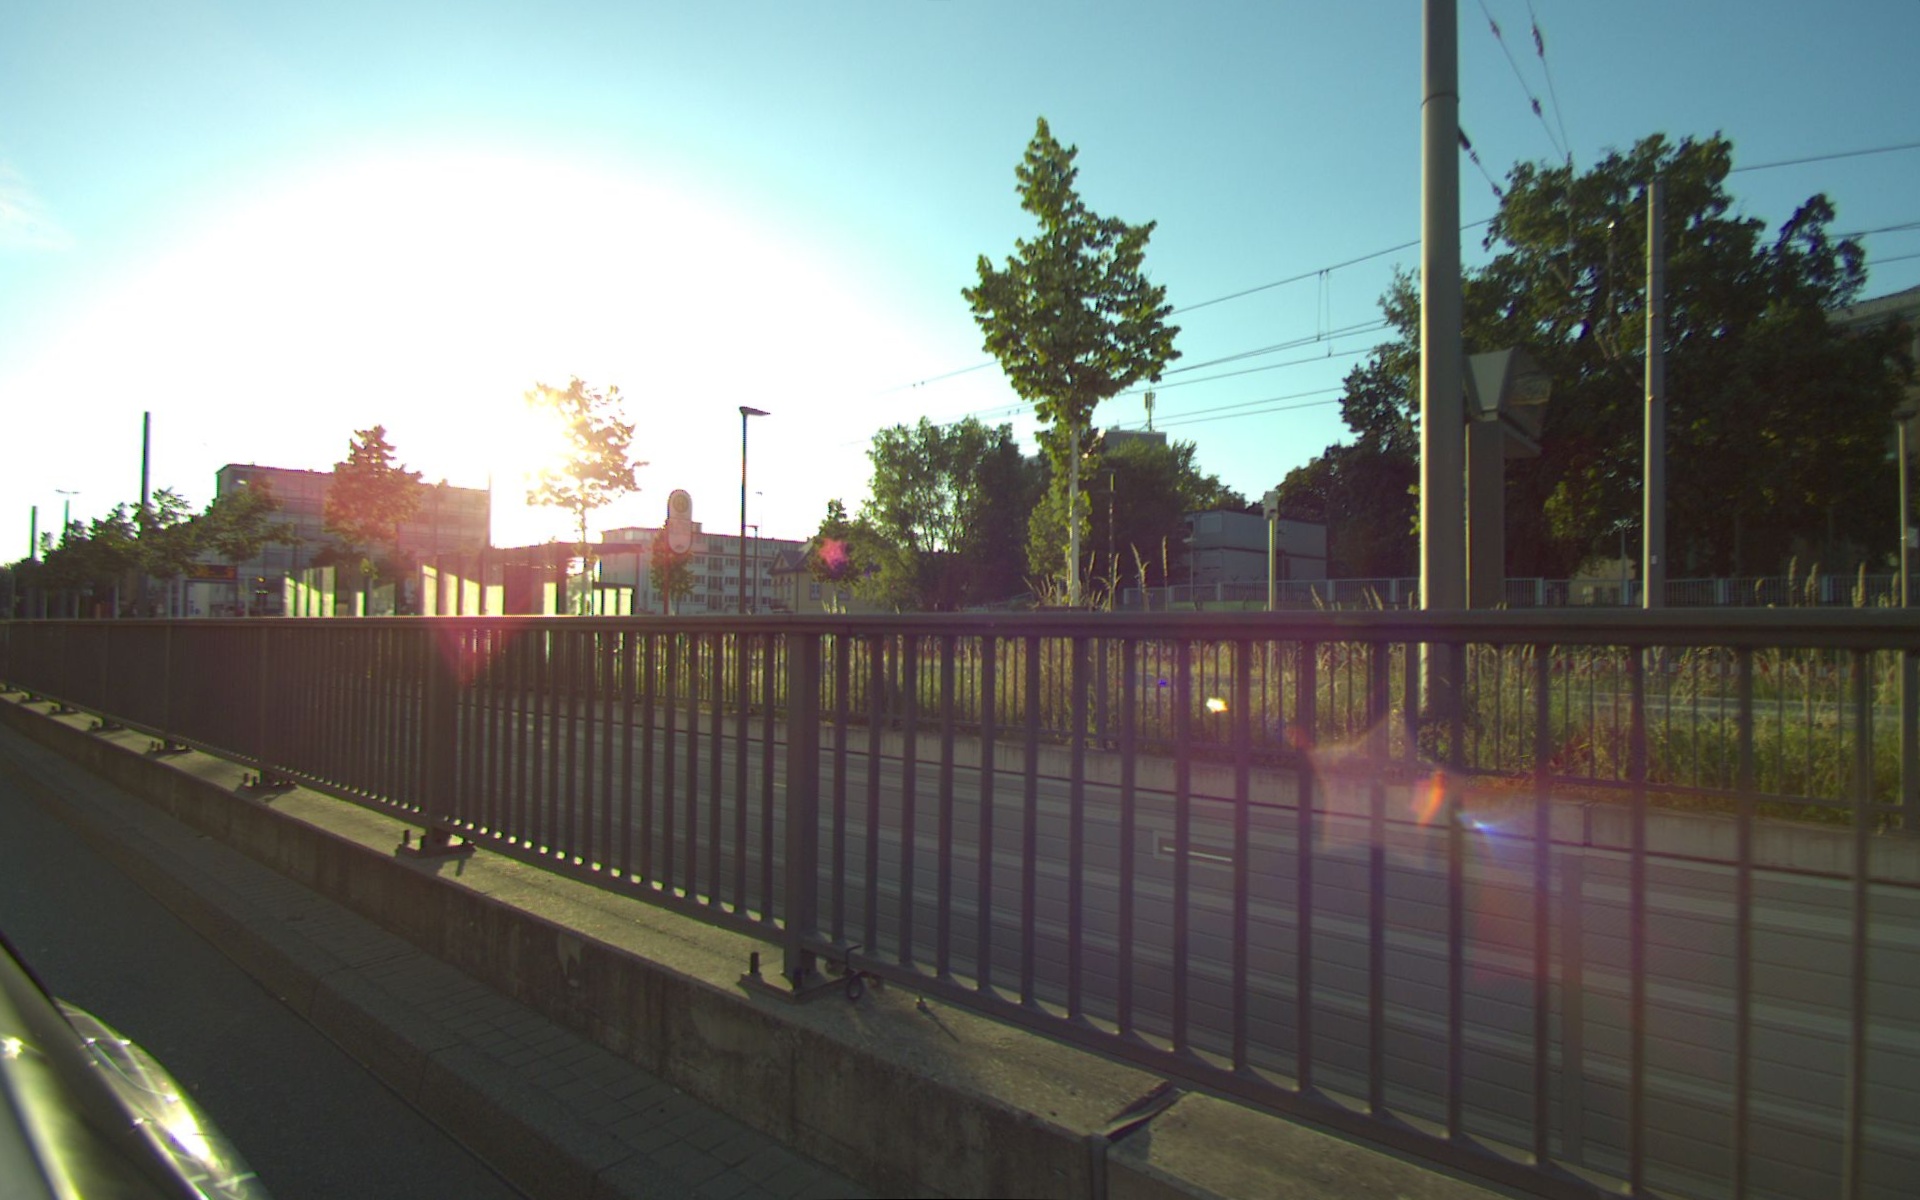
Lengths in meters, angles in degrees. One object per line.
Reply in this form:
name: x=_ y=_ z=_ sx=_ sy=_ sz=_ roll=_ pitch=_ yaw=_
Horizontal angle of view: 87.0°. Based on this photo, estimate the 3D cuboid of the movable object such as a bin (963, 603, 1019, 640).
movable object such as a bin: x=2.316 y=1.642 z=76.947 sx=4.000 sy=2.727 sz=1.971 roll=-1 pitch=-2 yaw=43

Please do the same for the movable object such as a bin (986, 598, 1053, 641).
movable object such as a bin: x=3.828 y=1.265 z=65.206 sx=4.000 sy=2.727 sz=1.971 roll=-1 pitch=-2 yaw=43

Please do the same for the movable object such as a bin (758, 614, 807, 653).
movable object such as a bin: x=-12.968 y=2.447 z=73.979 sx=1.967 sy=2.727 sz=4.009 roll=1 pitch=-2 yaw=-36

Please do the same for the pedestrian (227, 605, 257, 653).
pedestrian: x=-26.323 y=1.052 z=37.097 sx=0.633 sy=1.742 sz=0.630 roll=-1 pitch=-3 yaw=29

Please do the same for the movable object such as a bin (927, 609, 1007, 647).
movable object such as a bin: x=0.410 y=1.745 z=62.525 sx=4.940 sy=2.263 sz=1.971 roll=-1 pitch=-2 yaw=43

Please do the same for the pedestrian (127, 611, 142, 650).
pedestrian: x=-38.291 y=1.405 z=46.952 sx=0.465 sy=1.800 sz=0.627 roll=2 pitch=-2 yaw=-42

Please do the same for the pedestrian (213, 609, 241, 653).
pedestrian: x=-29.337 y=1.242 z=40.518 sx=0.634 sy=1.758 sz=0.719 roll=-2 pitch=-2 yaw=33
